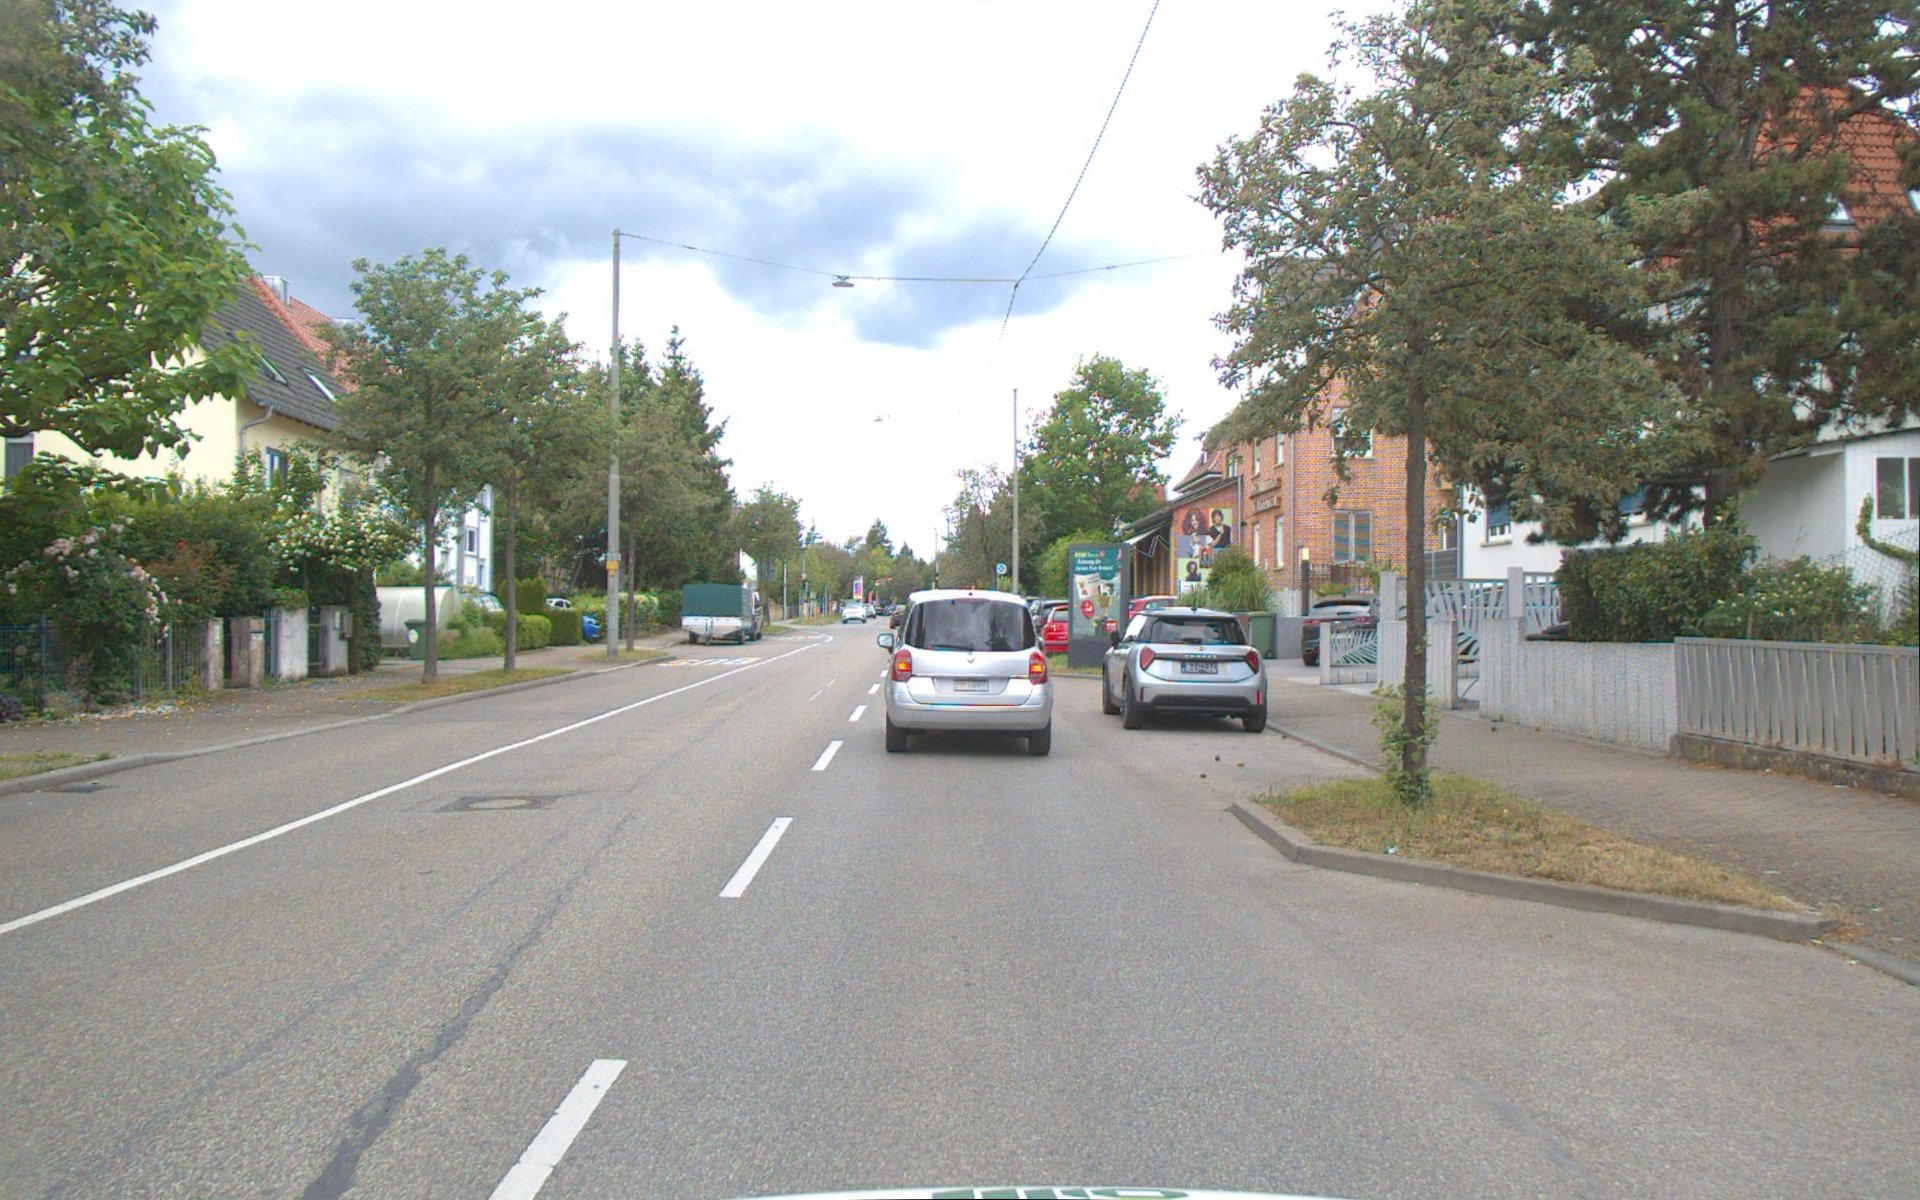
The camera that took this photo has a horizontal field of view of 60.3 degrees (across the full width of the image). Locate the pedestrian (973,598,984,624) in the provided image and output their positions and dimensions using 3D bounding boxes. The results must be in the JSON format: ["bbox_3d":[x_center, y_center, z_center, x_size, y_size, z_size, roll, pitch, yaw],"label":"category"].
[{"bbox_3d":[1.229,0.723,108.972,0.691,1.675,0.773,-1,0,-2],"label":"pedestrian"}]

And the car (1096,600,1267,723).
[{"bbox_3d":[2.734,0.749,21.188,1.616,1.407,3.999,1,-1,-1],"label":"car"}]

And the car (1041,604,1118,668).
[{"bbox_3d":[2.837,0.830,39.916,1.628,1.417,3.668,-1,0,1],"label":"car"}]

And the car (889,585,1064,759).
[{"bbox_3d":[0.137,0.706,17.451,1.597,1.584,3.999,1,-1,-1],"label":"car"}]

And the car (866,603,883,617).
[{"bbox_3d":[-9.200,1.047,177.503,1.688,1.436,3.996,1,-1,-4],"label":"car"}]

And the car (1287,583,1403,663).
[{"bbox_3d":[8.309,0.454,35.421,1.781,1.404,4.481,-3,1,21],"label":"car"}]

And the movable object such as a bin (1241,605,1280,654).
[{"bbox_3d":[6.955,0.676,38.260,0.760,1.123,0.691,0,0,-2],"label":"movable object such as a bin"}]

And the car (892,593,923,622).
[{"bbox_3d":[-3.067,0.438,97.540,1.792,1.705,3.573,0,0,-1],"label":"car"}]

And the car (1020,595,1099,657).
[{"bbox_3d":[2.618,0.656,44.422,1.629,1.592,4.095,0,0,-4],"label":"car"}]

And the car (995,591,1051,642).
[{"bbox_3d":[2.295,0.626,61.210,1.776,1.773,3.998,-1,-1,-2],"label":"car"}]

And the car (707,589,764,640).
[{"bbox_3d":[-9.125,0.613,67.464,1.850,1.956,4.559,1,-1,-3],"label":"car"}]

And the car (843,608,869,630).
[{"bbox_3d":[-8.244,1.523,131.116,1.869,1.646,3.994,1,-1,-6],"label":"car"}]

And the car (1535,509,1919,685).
[{"bbox_3d":[10.357,0.036,22.457,1.950,2.048,4.682,-4,-1,-27],"label":"car"}]

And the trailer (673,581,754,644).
[{"bbox_3d":[-8.843,0.478,59.826,2.266,2.123,5.869,1,-1,-3],"label":"trailer"}]

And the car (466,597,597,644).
[{"bbox_3d":[-13.640,0.670,52.792,3.916,1.361,1.573,1,-2,-11],"label":"car"}]

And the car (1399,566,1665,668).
[{"bbox_3d":[10.299,0.309,29.921,4.182,1.532,1.691,-3,-1,-9],"label":"car"}]

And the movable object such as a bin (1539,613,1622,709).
[{"bbox_3d":[7.409,0.727,19.766,0.584,1.075,0.611,-5,-1,-22],"label":"movable object such as a bin"}]

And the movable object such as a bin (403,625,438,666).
[{"bbox_3d":[-12.227,1.022,37.462,0.568,0.917,0.542,-2,-1,42],"label":"movable object such as a bin"}]

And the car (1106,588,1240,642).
[{"bbox_3d":[6.928,0.489,53.953,3.915,1.522,1.806,-3,0,-10],"label":"car"}]
